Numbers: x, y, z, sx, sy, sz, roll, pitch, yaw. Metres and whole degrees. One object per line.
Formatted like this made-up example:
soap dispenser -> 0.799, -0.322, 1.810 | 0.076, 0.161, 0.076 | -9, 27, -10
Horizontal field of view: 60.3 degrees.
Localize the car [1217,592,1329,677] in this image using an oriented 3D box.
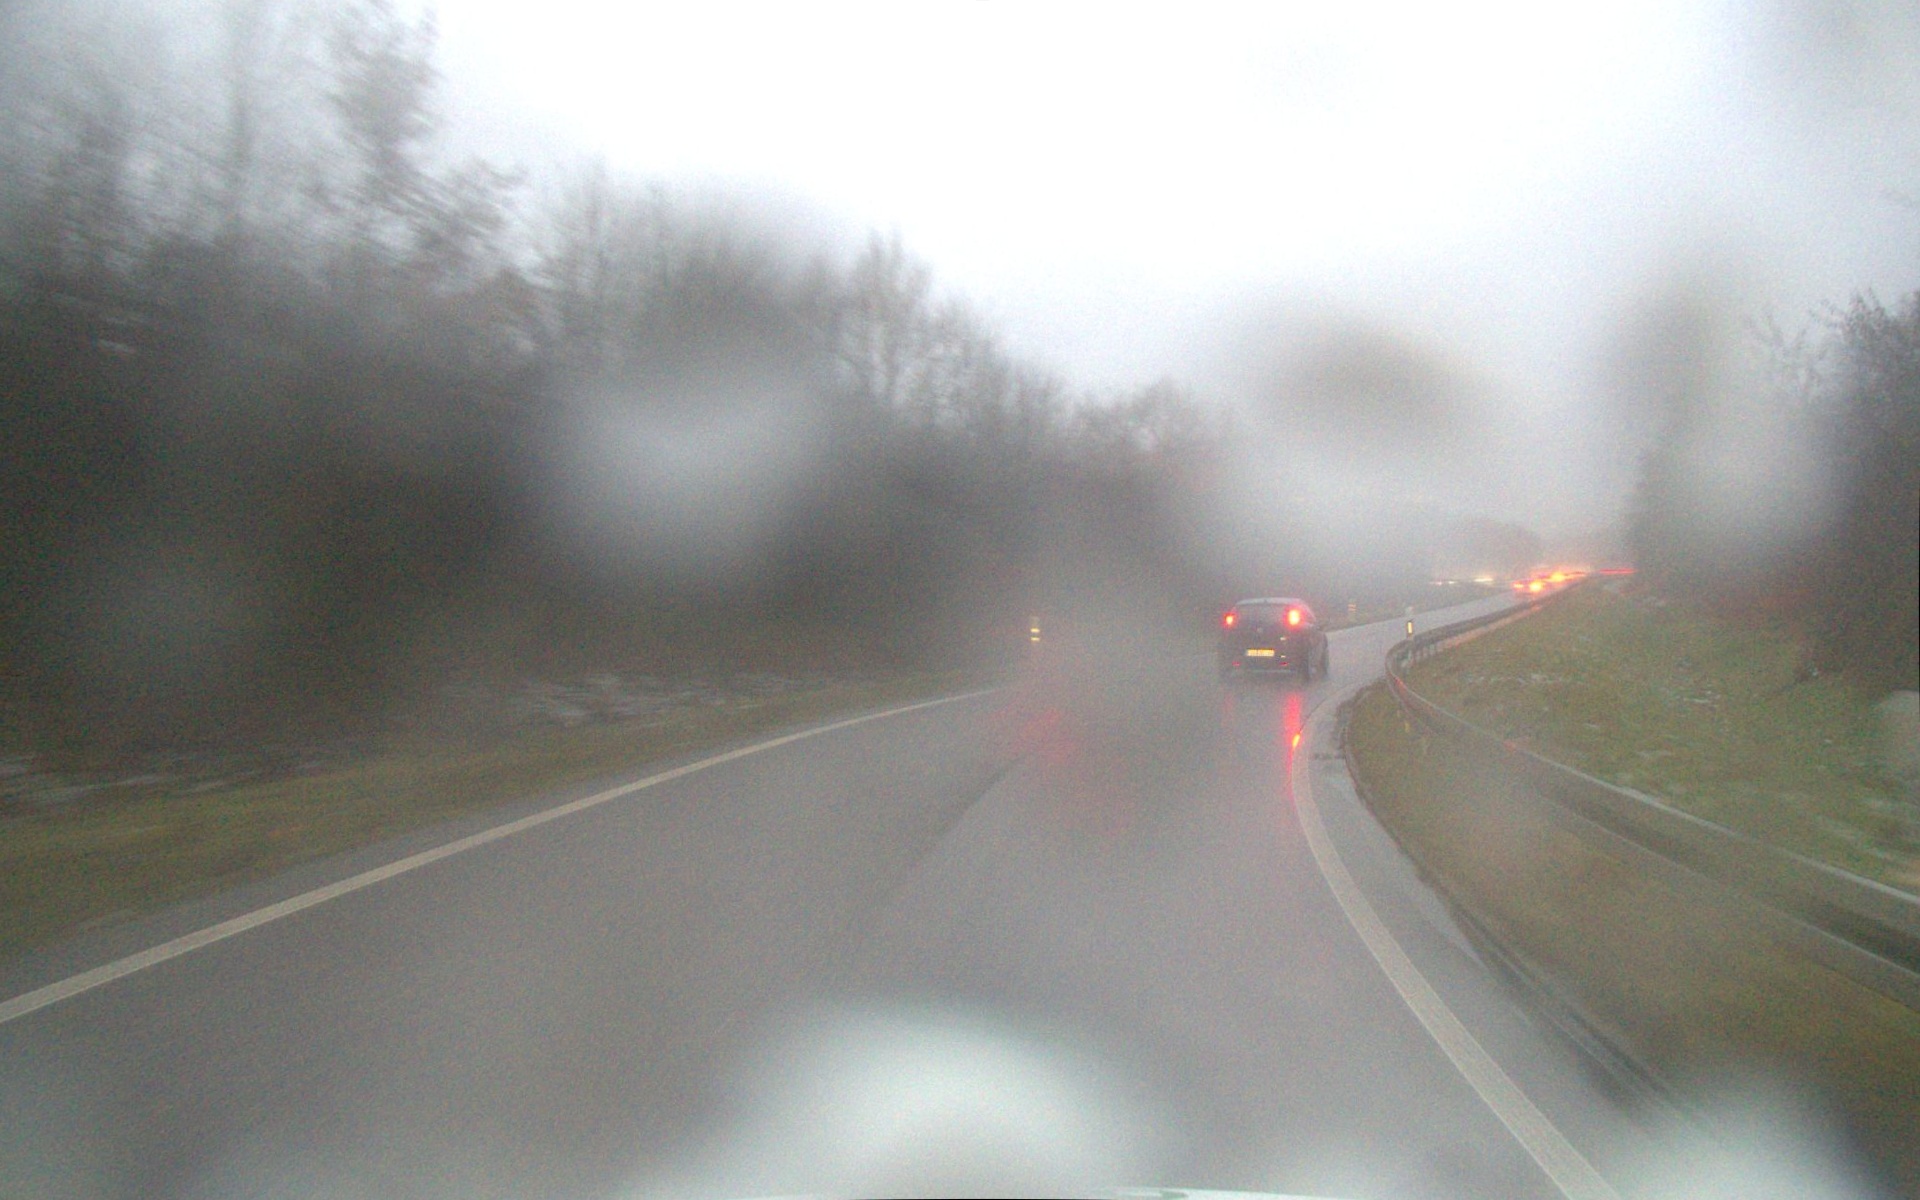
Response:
car -> 5.963, 0.603, 31.237 | 1.695, 1.454, 3.767 | 1, 0, 17
